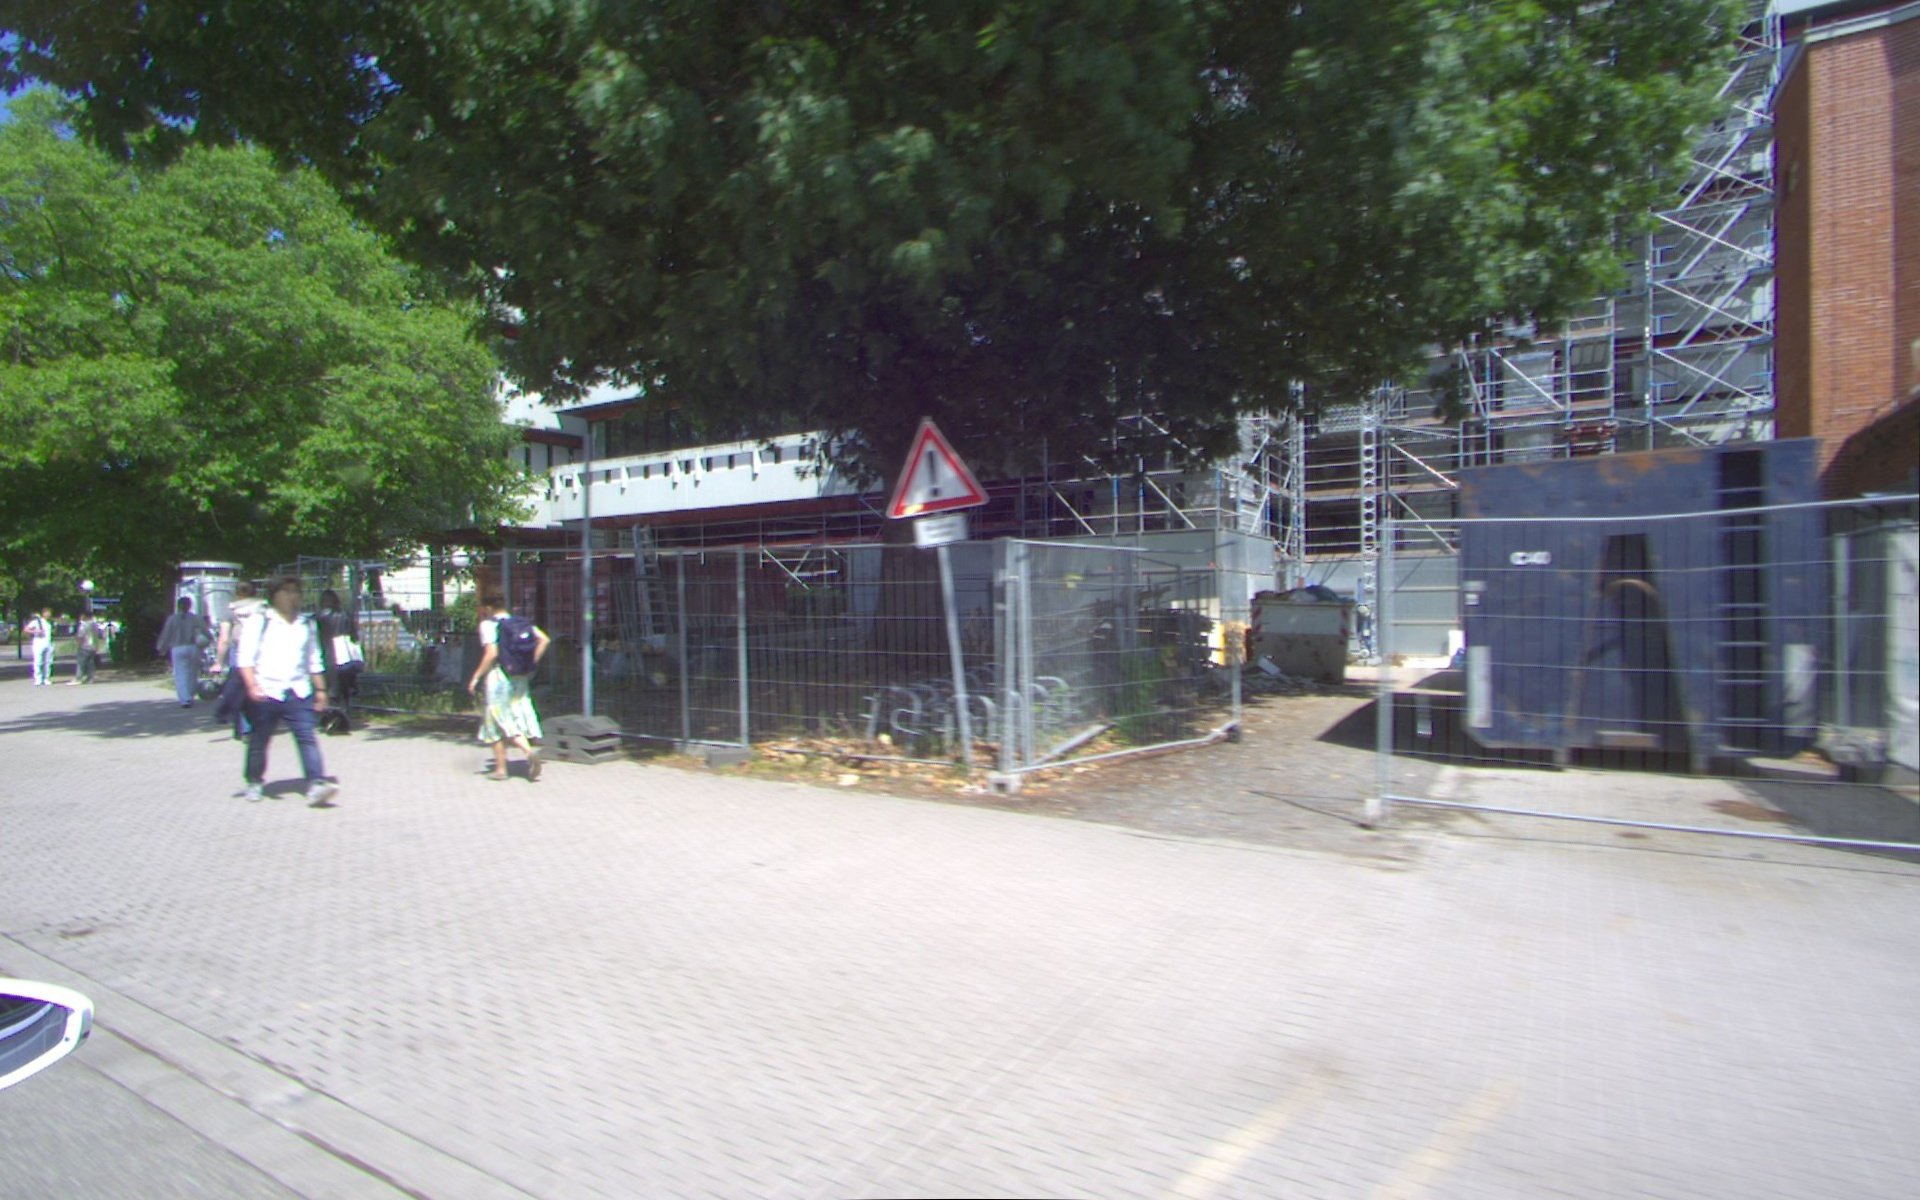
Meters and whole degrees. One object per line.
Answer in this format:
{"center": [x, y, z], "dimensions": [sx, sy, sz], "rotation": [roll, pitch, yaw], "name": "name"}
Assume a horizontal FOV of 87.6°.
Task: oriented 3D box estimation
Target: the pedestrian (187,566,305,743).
{"center": [-7.615, 0.552, 10.685], "dimensions": [0.707, 1.787, 0.846], "rotation": [0, 1, 41], "name": "pedestrian"}

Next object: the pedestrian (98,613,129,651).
{"center": [-43.962, 1.658, 52.000], "dimensions": [0.813, 1.779, 0.834], "rotation": [-16, 9, -36], "name": "pedestrian"}

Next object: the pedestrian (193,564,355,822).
{"center": [-5.131, 0.657, 7.503], "dimensions": [0.775, 1.804, 0.694], "rotation": [-1, 1, 29], "name": "pedestrian"}

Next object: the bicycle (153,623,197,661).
{"center": [-24.529, 1.310, 31.281], "dimensions": [1.848, 1.133, 0.616], "rotation": [-1, 0, 37], "name": "bicycle"}

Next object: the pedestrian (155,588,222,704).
{"center": [-11.431, 0.664, 14.833], "dimensions": [0.708, 1.653, 0.705], "rotation": [-1, 0, -43], "name": "pedestrian"}

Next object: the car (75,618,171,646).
{"center": [-52.064, 1.962, 62.416], "dimensions": [4.444, 1.545, 1.797], "rotation": [-2, 0, -37], "name": "car"}

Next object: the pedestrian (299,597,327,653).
{"center": [-21.576, 0.833, 33.391], "dimensions": [0.752, 1.861, 0.541], "rotation": [-1, 0, 38], "name": "pedestrian"}

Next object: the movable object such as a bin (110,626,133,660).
{"center": [-27.227, 1.398, 32.504], "dimensions": [0.499, 1.086, 0.487], "rotation": [-1, 0, 39], "name": "movable object such as a bin"}

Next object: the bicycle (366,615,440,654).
{"center": [-14.690, 0.908, 26.426], "dimensions": [1.775, 0.970, 0.513], "rotation": [-2, 1, 13], "name": "bicycle"}

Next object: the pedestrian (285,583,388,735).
{"center": [-6.989, 0.631, 11.216], "dimensions": [0.973, 1.621, 0.666], "rotation": [0, 1, 38], "name": "pedestrian"}

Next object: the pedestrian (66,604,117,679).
{"center": [-20.396, 0.957, 23.526], "dimensions": [0.553, 1.732, 0.745], "rotation": [-1, 0, -4], "name": "pedestrian"}

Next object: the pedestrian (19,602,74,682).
{"center": [-21.396, 0.978, 23.469], "dimensions": [0.618, 1.846, 0.723], "rotation": [-1, 0, -4], "name": "pedestrian"}

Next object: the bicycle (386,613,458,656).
{"center": [-14.498, 0.927, 26.967], "dimensions": [1.775, 1.092, 0.499], "rotation": [-2, 1, 13], "name": "bicycle"}

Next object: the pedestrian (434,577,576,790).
{"center": [-3.815, 0.668, 8.410], "dimensions": [0.890, 1.688, 0.649], "rotation": [-1, 1, 27], "name": "pedestrian"}
